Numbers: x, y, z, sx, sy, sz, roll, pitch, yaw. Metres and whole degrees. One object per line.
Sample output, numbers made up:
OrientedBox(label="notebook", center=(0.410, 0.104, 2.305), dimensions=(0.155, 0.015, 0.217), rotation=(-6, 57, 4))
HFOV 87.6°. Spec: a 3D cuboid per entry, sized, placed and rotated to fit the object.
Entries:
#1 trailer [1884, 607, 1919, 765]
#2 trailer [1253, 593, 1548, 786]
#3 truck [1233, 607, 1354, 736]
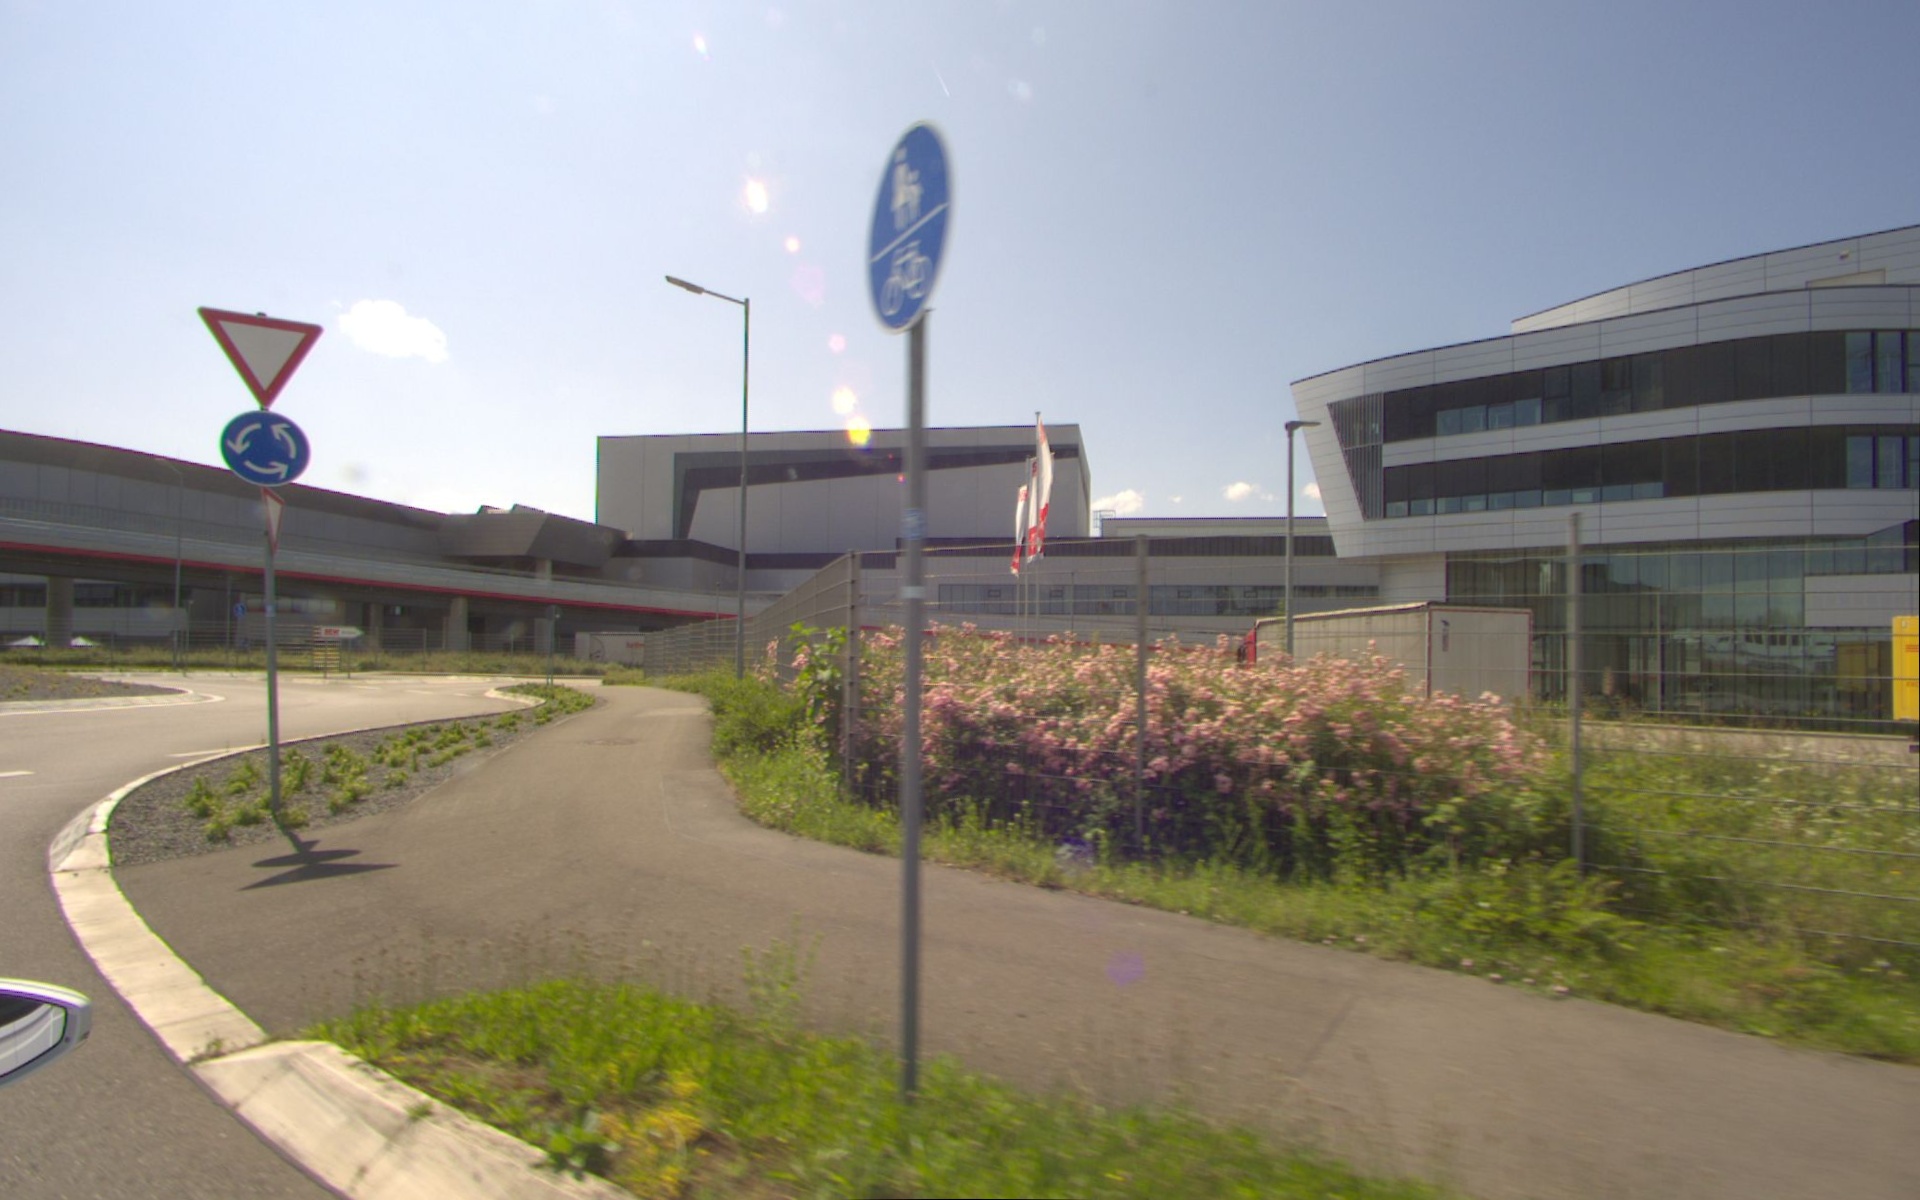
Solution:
OrientedBox(label="trailer", center=(28.089, 2.259, 24.342), dimensions=(2.845, 4.350, 8.719), rotation=(0, -2, -3))
OrientedBox(label="trailer", center=(12.309, 2.329, 30.366), dimensions=(2.712, 4.494, 14.070), rotation=(0, -2, 0))
OrientedBox(label="truck", center=(12.311, 2.580, 37.411), dimensions=(2.712, 4.479, 5.293), rotation=(0, -2, 0))
